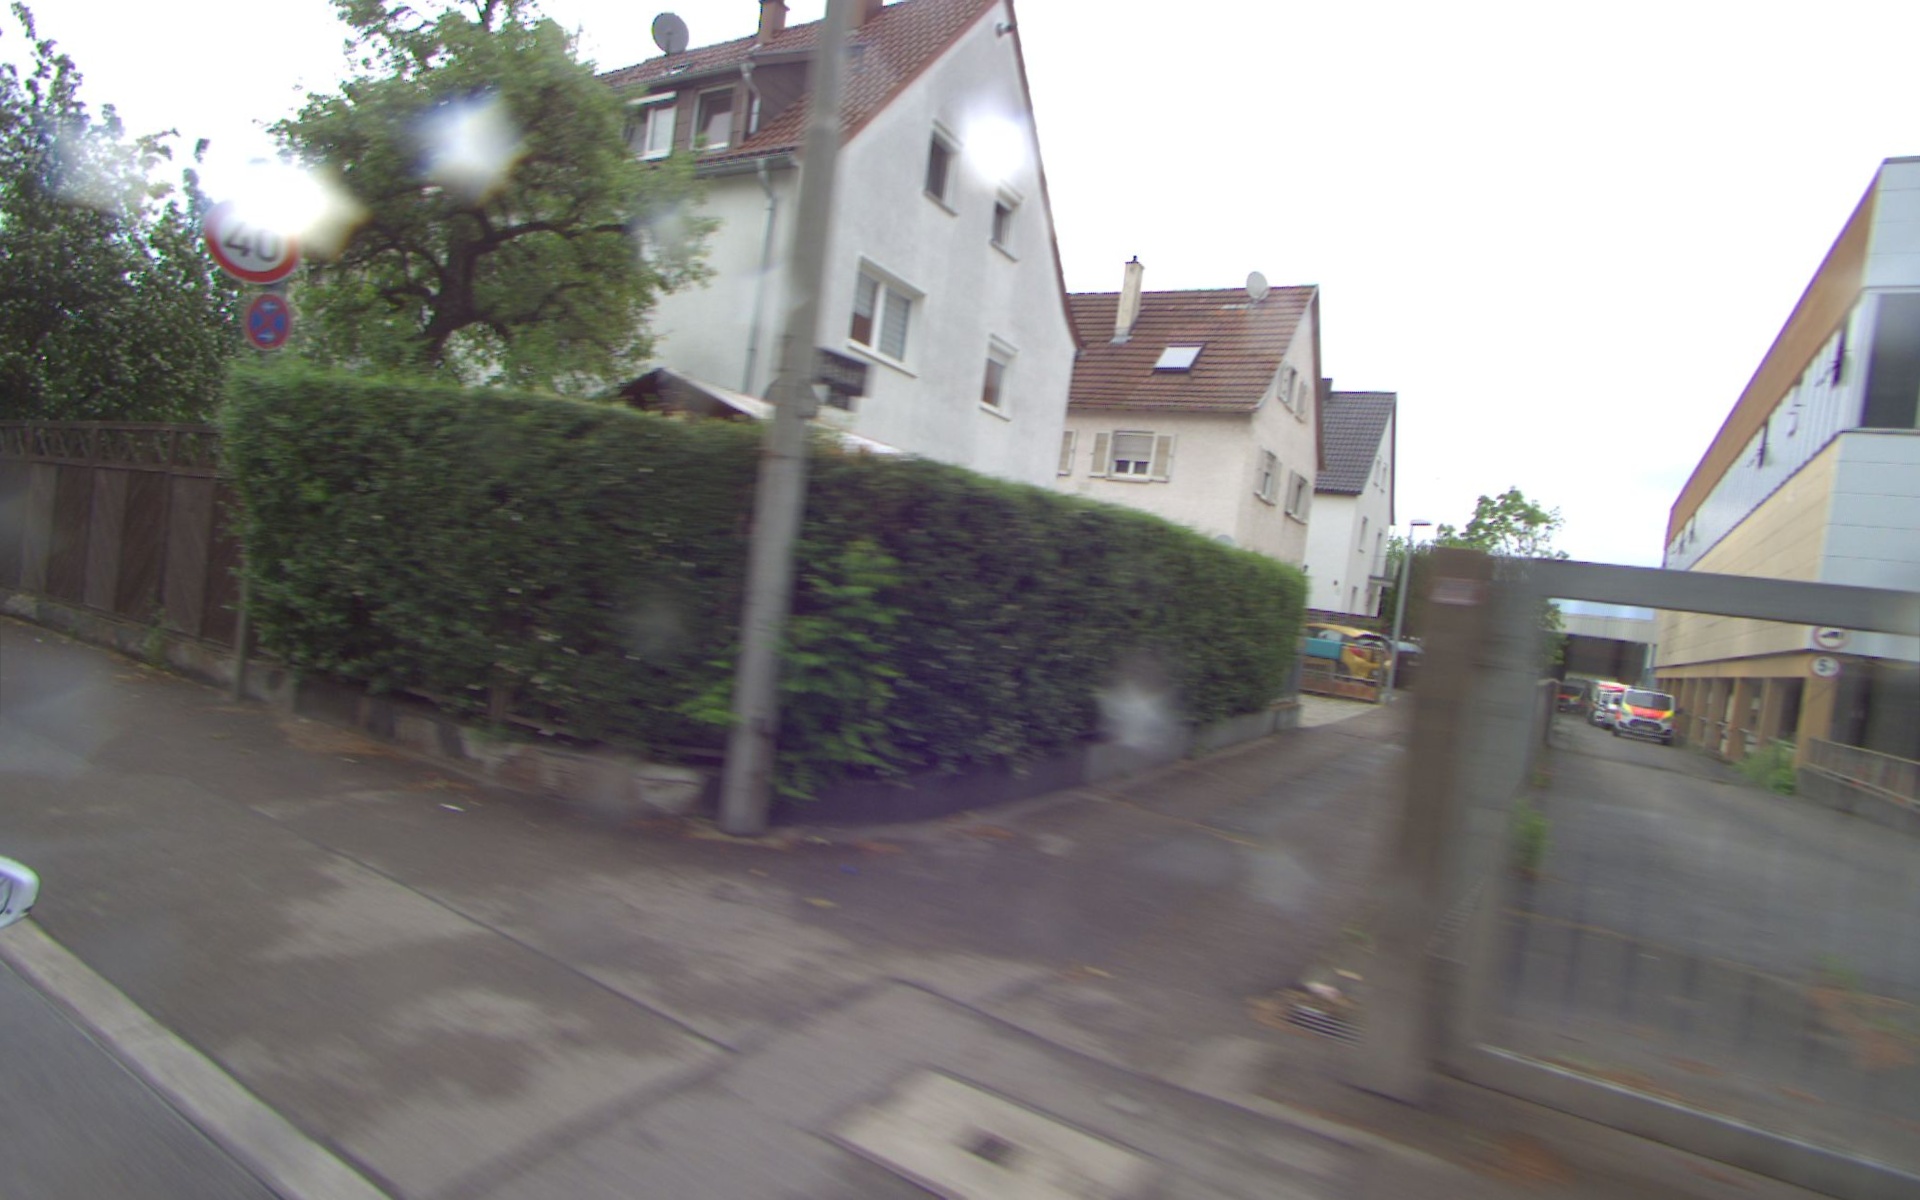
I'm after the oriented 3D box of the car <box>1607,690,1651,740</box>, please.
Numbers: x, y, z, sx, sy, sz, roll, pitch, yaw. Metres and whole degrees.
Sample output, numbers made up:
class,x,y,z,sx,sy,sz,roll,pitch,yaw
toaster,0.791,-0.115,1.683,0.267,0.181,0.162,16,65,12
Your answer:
class,x,y,z,sx,sy,sz,roll,pitch,yaw
car,29.038,4.984,43.632,1.351,1.920,3.289,7,-2,35

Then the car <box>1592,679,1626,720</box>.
class,x,y,z,sx,sy,sz,roll,pitch,yaw
car,35.951,5.555,55.779,1.350,2.037,3.291,6,-2,32

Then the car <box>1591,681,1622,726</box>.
class,x,y,z,sx,sy,sz,roll,pitch,yaw
car,40.103,6.443,62.405,1.350,2.542,4.428,6,-2,33

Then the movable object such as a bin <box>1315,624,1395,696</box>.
class,x,y,z,sx,sy,sz,roll,pitch,yaw
movable object such as a bin,10.121,1.543,25.736,1.565,1.573,1.628,6,-2,30

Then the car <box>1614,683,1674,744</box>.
class,x,y,z,sx,sy,sz,roll,pitch,yaw
car,27.168,4.488,40.048,1.690,2.047,3.836,7,0,34

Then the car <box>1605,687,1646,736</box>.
class,x,y,z,sx,sy,sz,roll,pitch,yaw
car,32.347,5.420,48.855,1.421,2.098,3.289,6,-2,35

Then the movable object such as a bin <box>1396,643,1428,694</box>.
class,x,y,z,sx,sy,sz,roll,pitch,yaw
movable object such as a bin,12.627,1.918,28.097,0.610,1.323,1.061,6,-2,29
